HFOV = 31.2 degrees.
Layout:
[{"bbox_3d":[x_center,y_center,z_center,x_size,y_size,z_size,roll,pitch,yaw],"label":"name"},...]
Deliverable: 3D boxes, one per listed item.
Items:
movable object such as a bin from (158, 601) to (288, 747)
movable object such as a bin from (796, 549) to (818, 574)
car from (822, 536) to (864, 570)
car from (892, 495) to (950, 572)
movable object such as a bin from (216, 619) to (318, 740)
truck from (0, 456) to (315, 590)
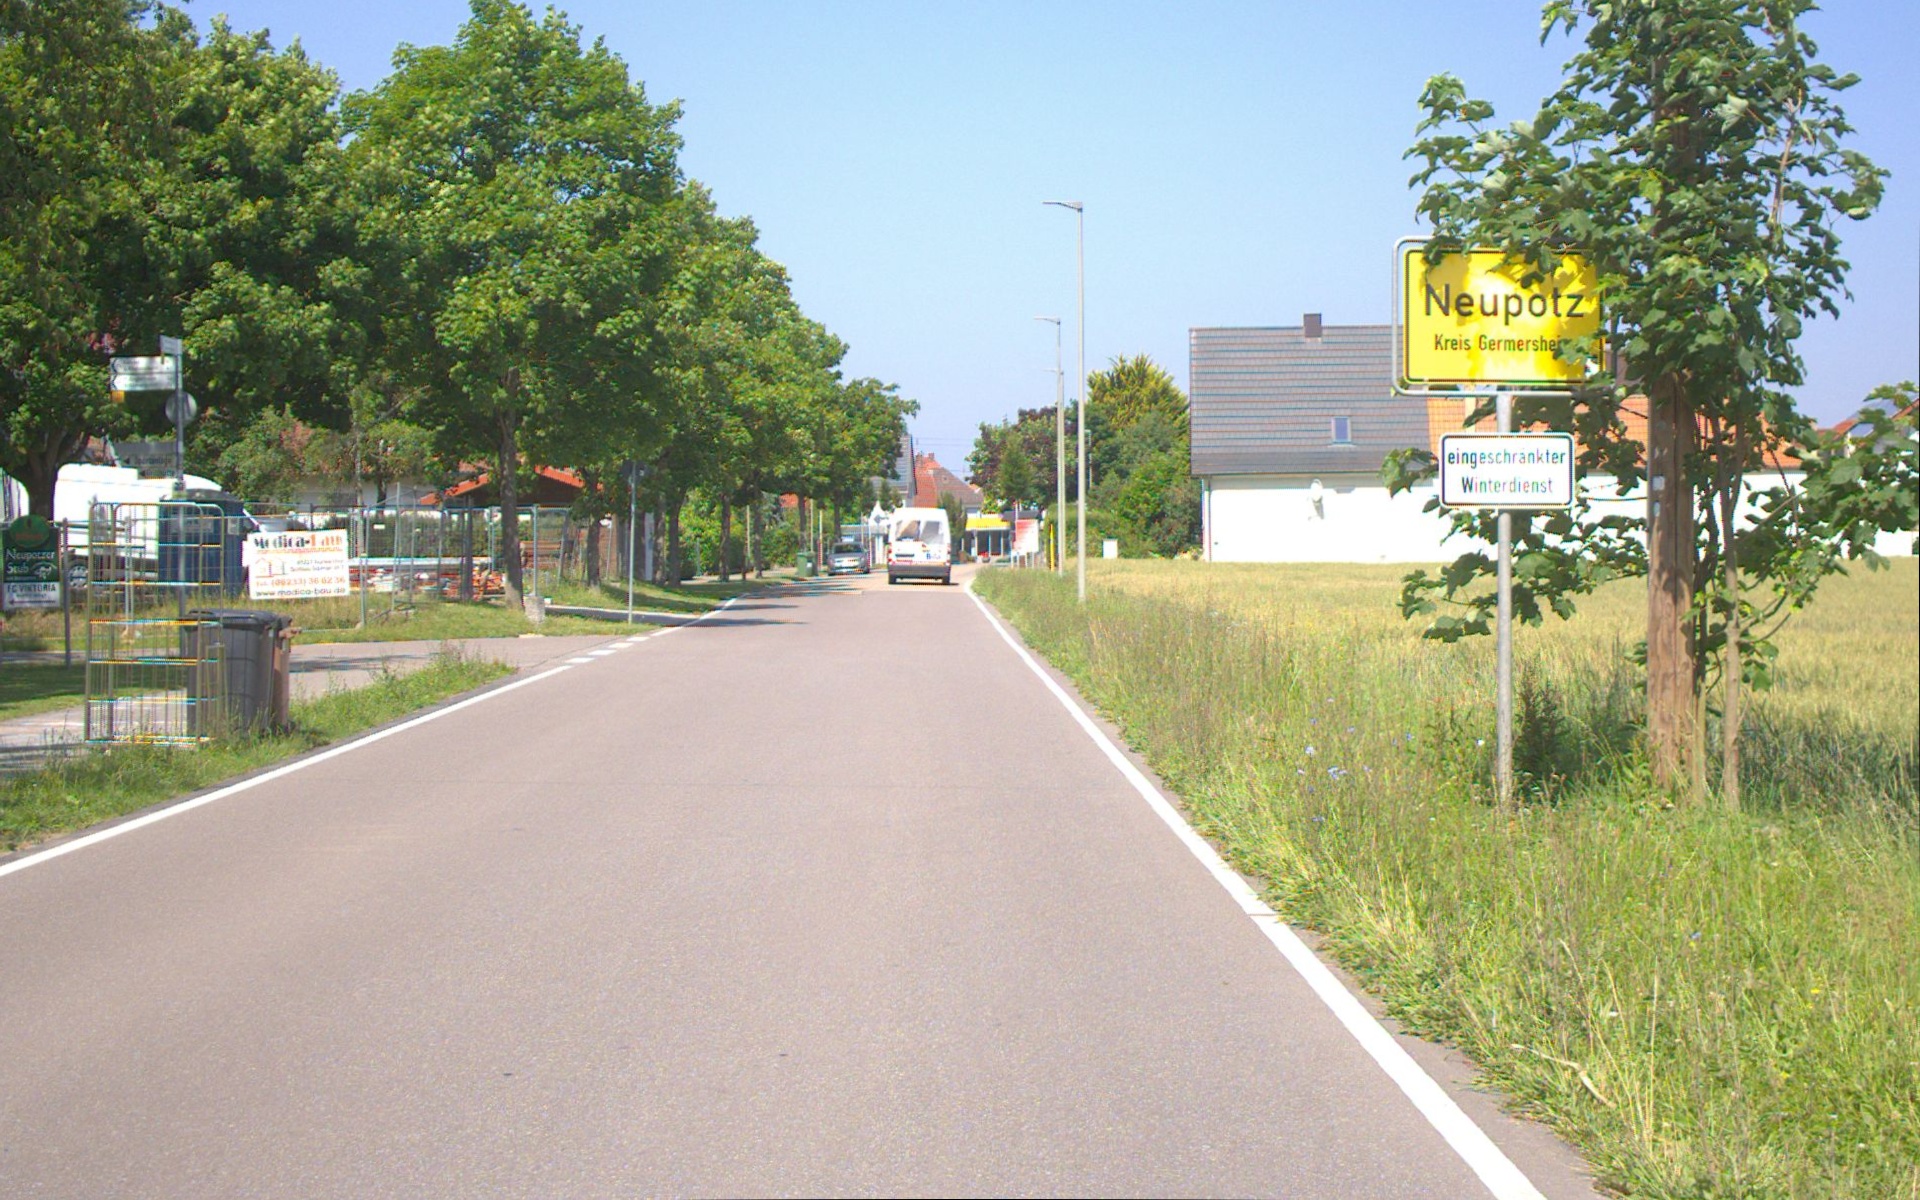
[{"bbox_3d":[-5.363,0.531,25.035,0.699,1.020,0.748,-1,1,7],"label":"movable object such as a bin"},{"bbox_3d":[-6.494,-1.627,145.744,0.714,1.075,0.639,0,1,27],"label":"movable object such as a bin"},{"bbox_3d":[-5.138,-2.065,151.150,1.647,1.419,4.080,-3,1,0],"label":"car"},{"bbox_3d":[-1.244,-2.139,111.275,1.737,2.424,4.374,-1,1,1],"label":"car"},{"bbox_3d":[-5.201,0.593,25.822,0.562,0.874,0.613,-1,1,7],"label":"movable object such as a bin"},{"bbox_3d":[-15.576,-1.460,66.213,5.914,2.475,2.000,-1,1,-37],"label":"truck"}]
